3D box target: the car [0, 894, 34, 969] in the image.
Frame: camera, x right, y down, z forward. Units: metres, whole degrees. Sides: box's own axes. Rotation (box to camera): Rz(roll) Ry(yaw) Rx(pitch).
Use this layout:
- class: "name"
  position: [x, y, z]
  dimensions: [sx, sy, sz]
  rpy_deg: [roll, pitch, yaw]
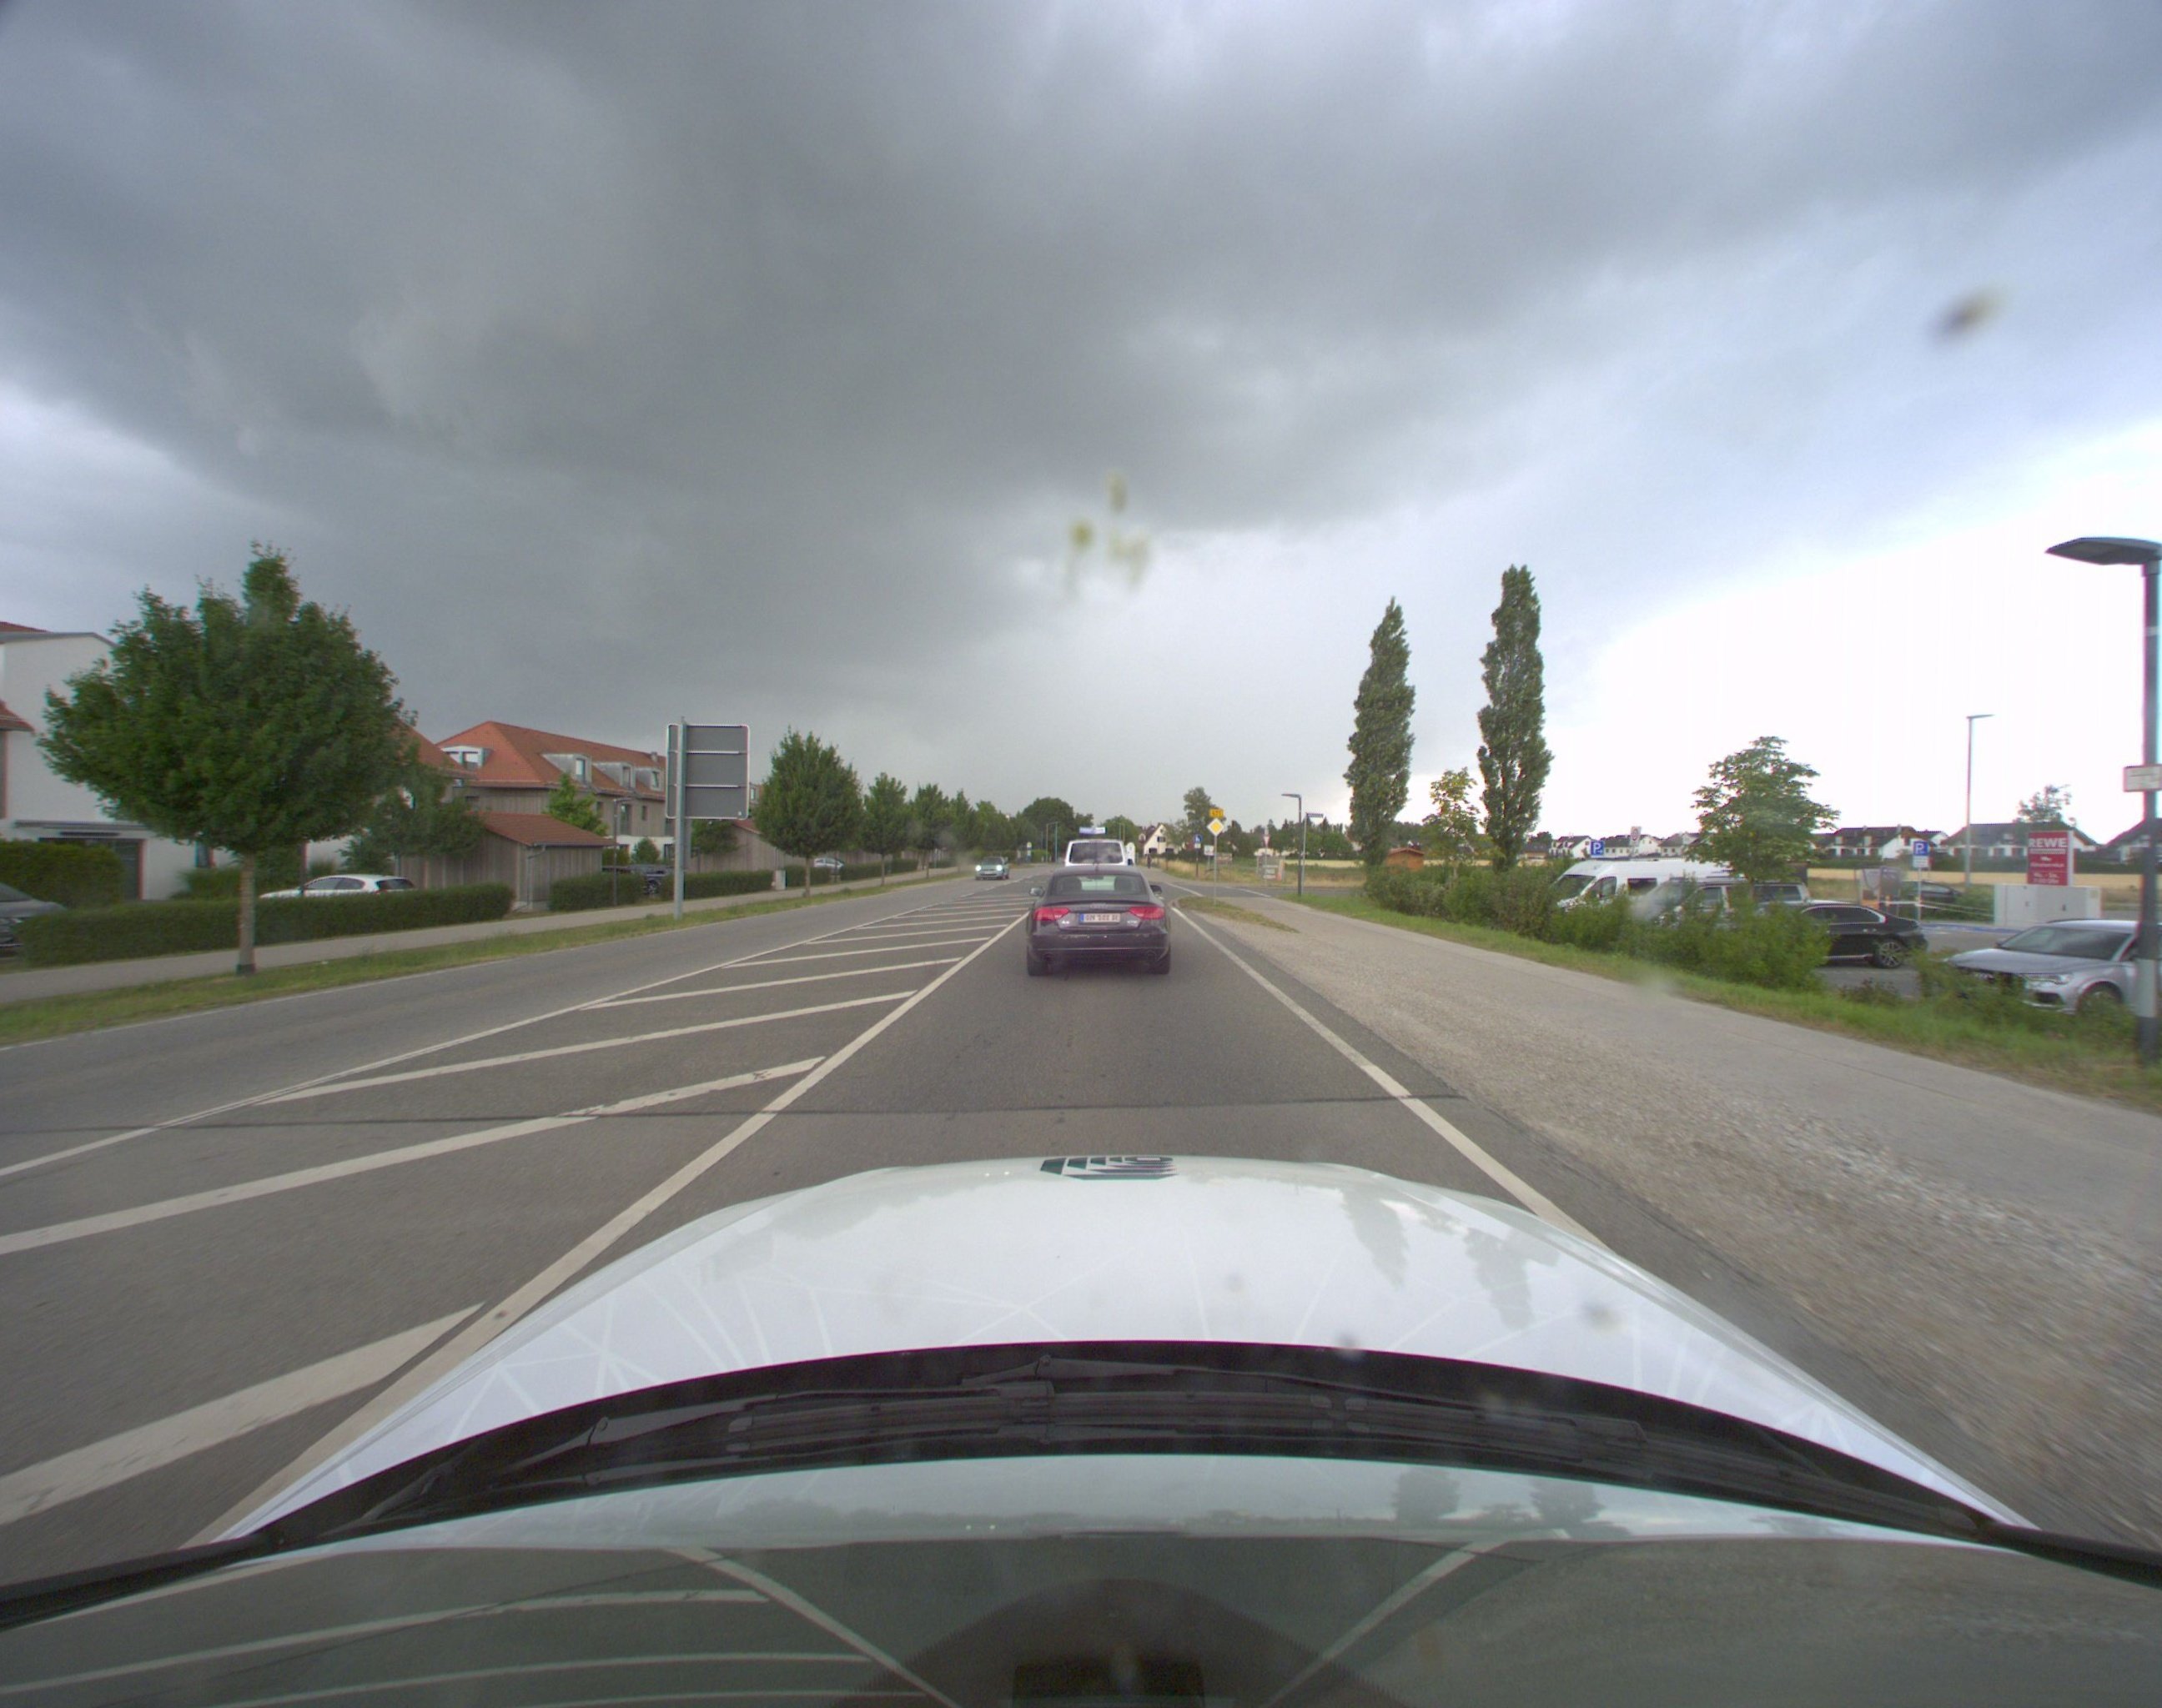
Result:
- class: "car"
  position: [-23.514, 1.571, 15.473]
  dimensions: [4.886, 1.430, 1.907]
  rpy_deg: [-1, 0, 2]

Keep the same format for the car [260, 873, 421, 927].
- class: "car"
  position: [-22.727, 1.397, 25.071]
  dimensions: [3.501, 1.489, 1.564]
  rpy_deg: [-1, 0, 1]

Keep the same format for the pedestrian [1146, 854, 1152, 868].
- class: "pedestrian"
  position: [7.896, 0.802, 94.226]
  dimensions: [0.621, 1.525, 0.680]
  rpy_deg: [-1, 0, 1]

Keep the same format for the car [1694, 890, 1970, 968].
- class: "car"
  position: [17.950, 1.769, 19.612]
  dimensions: [5.080, 1.598, 1.758]
  rpy_deg: [-1, 0, -1]

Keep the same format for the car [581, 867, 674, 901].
- class: "car"
  position: [-21.432, 1.389, 38.577]
  dimensions: [3.501, 1.489, 1.564]
  rpy_deg: [-1, 0, 1]

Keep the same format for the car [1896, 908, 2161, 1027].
- class: "car"
  position: [16.758, 1.824, 13.657]
  dimensions: [4.133, 1.598, 2.080]
  rpy_deg: [-1, 0, -1]

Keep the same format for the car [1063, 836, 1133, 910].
- class: "car"
  position: [0.461, 0.490, 23.688]
  dimensions: [1.820, 1.913, 4.000]
  rpy_deg: [1, 0, 0]

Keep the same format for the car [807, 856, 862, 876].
- class: "car"
  position: [-21.024, 1.002, 69.647]
  dimensions: [3.971, 1.556, 2.002]
  rpy_deg: [2, 0, 3]

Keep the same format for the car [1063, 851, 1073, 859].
- class: "car"
  position: [-2.433, 0.194, 154.613]
  dimensions: [1.648, 1.429, 3.603]
  rpy_deg: [-1, 0, 1]

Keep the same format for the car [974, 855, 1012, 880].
- class: "car"
  position: [-5.476, 0.799, 50.979]
  dimensions: [1.763, 1.443, 4.002]
  rpy_deg: [-1, 0, 2]

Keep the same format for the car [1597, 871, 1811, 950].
- class: "car"
  position: [17.589, 1.550, 23.154]
  dimensions: [4.579, 2.013, 2.000]
  rpy_deg: [-1, 0, -1]

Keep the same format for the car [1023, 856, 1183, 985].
- class: "car"
  position: [0.163, 0.773, 11.595]
  dimensions: [1.821, 1.388, 4.383]
  rpy_deg: [-1, 0, -3]

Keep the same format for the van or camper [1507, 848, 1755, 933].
- class: "van or camper"
  position: [17.438, 1.118, 26.054]
  dimensions: [6.447, 2.464, 2.280]
  rpy_deg: [-1, 0, -1]

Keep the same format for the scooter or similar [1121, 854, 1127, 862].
- class: "scooter or similar"
  position: [5.929, 0.581, 111.655]
  dimensions: [0.845, 1.103, 1.094]
  rpy_deg: [-1, 0, 2]
